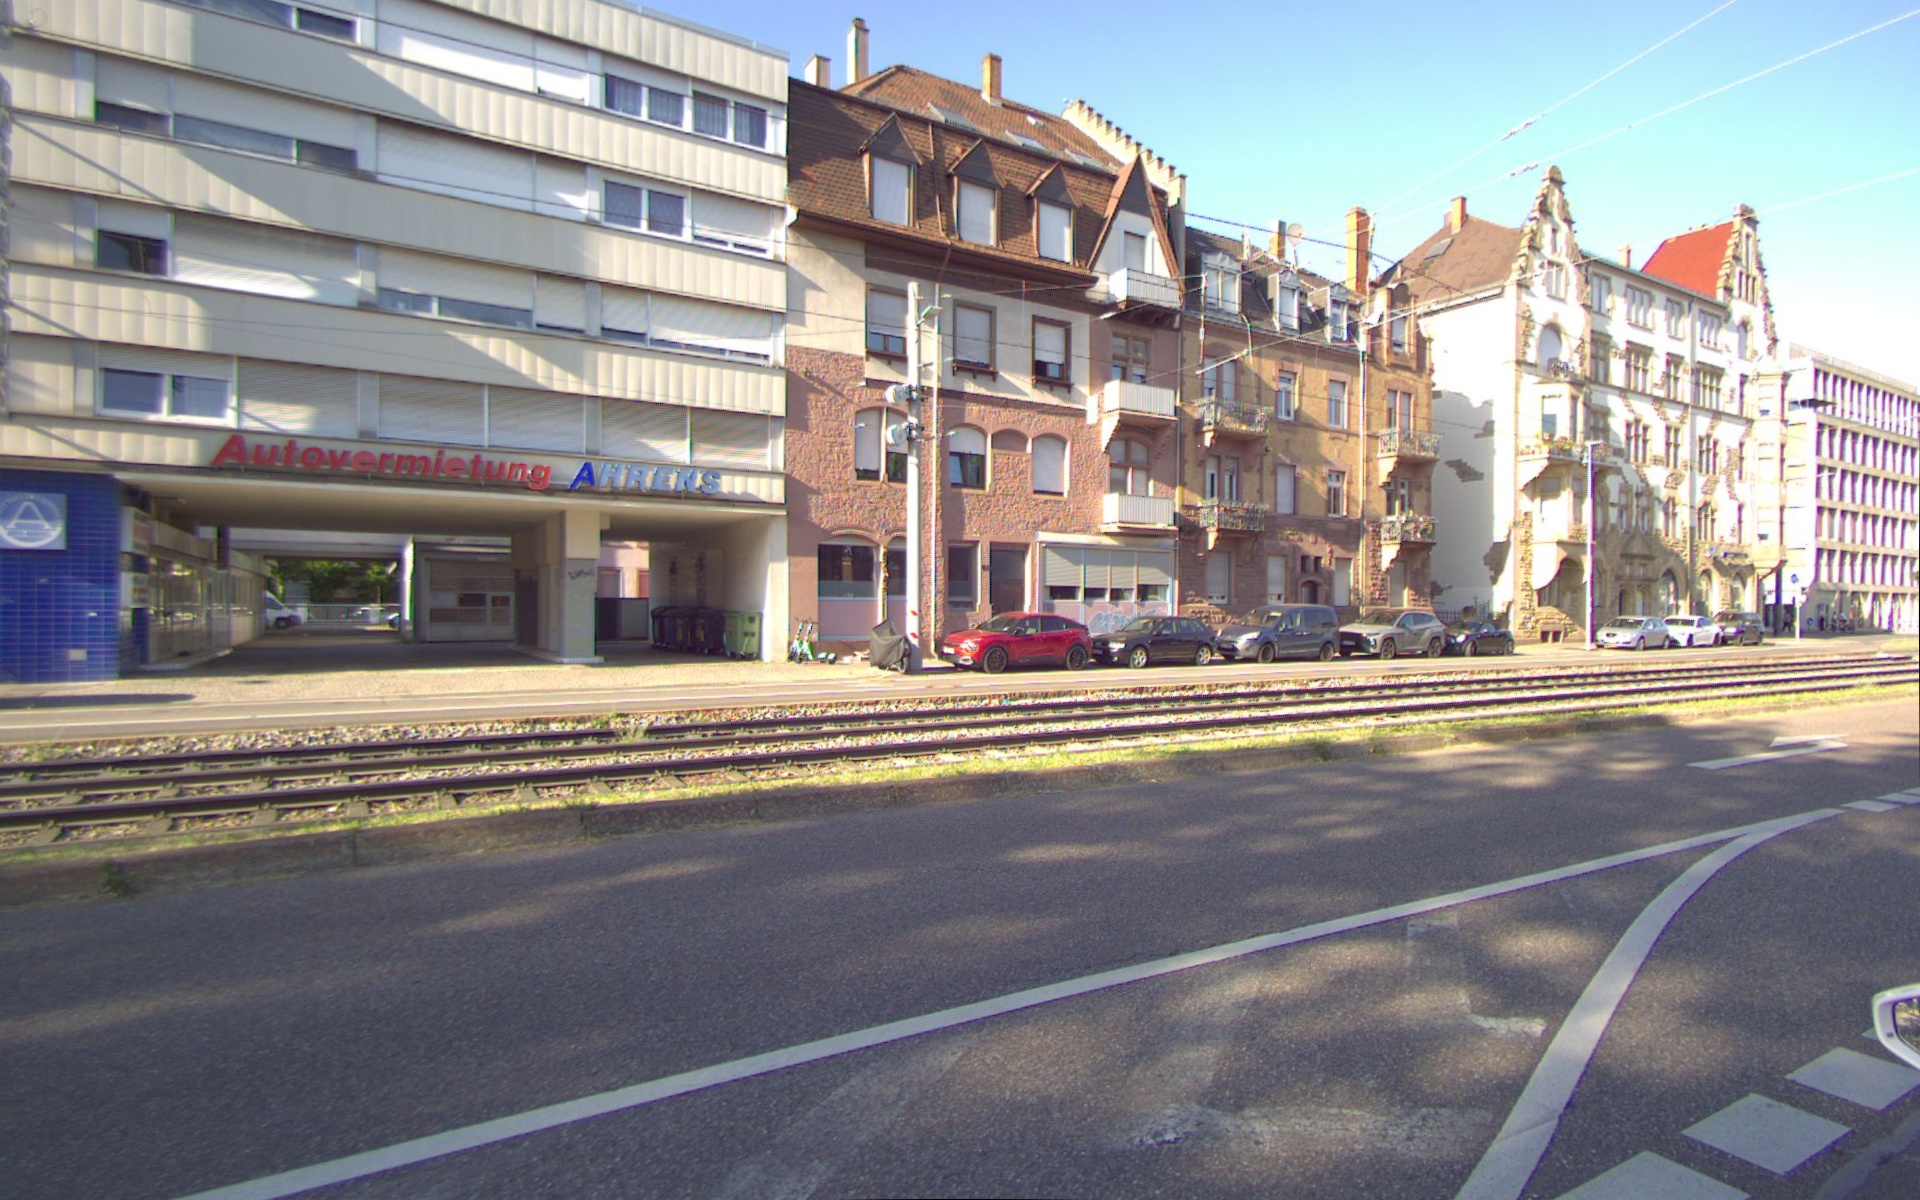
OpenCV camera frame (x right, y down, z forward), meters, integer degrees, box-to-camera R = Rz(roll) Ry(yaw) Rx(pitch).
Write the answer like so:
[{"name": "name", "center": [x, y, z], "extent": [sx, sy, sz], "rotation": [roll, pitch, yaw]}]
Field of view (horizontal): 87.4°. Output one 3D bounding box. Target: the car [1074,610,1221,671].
[{"name": "car", "center": [5.412, 1.119, 28.917], "extent": [3.955, 1.531, 1.784], "rotation": [1, 3, -32]}]

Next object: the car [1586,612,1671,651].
[{"name": "car", "center": [29.359, 1.351, 44.072], "extent": [3.961, 1.531, 1.781], "rotation": [0, 3, -36]}]

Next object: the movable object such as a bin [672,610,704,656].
[{"name": "movable object such as a bin", "center": [-8.451, 1.000, 31.195], "extent": [0.628, 1.389, 1.260], "rotation": [0, 0, -31]}]

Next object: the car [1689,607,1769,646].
[{"name": "car", "center": [38.436, 1.301, 50.189], "extent": [4.139, 1.742, 1.784], "rotation": [0, 3, -33]}]

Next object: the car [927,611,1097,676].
[{"name": "car", "center": [1.404, 1.094, 26.594], "extent": [4.219, 1.479, 1.784], "rotation": [0, 3, -33]}]

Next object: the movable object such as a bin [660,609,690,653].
[{"name": "movable object such as a bin", "center": [-9.208, 1.001, 32.425], "extent": [0.628, 1.389, 1.260], "rotation": [0, 0, -31]}]

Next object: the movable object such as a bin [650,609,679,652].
[{"name": "movable object such as a bin", "center": [-9.884, 1.002, 33.577], "extent": [0.628, 1.389, 1.260], "rotation": [0, 0, -31]}]

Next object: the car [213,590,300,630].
[{"name": "car", "center": [-43.542, 0.635, 62.284], "extent": [4.295, 2.322, 1.848], "rotation": [1, 1, -33]}]

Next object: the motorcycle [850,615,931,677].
[{"name": "motorcycle", "center": [-1.739, 1.126, 25.035], "extent": [2.045, 1.345, 0.835], "rotation": [4, 3, 44]}]

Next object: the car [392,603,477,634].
[{"name": "car", "center": [-28.186, 1.008, 53.930], "extent": [3.953, 1.530, 1.786], "rotation": [1, 1, -30]}]

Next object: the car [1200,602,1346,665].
[{"name": "car", "center": [9.877, 1.025, 31.645], "extent": [4.400, 1.777, 1.786], "rotation": [1, 3, -29]}]

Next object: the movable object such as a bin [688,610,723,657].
[{"name": "movable object such as a bin", "center": [-7.634, 0.996, 30.138], "extent": [0.629, 1.389, 1.259], "rotation": [1, 0, -34]}]

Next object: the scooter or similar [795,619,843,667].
[{"name": "scooter or similar", "center": [-3.751, 1.139, 26.759], "extent": [1.186, 1.222, 0.389], "rotation": [1, 2, -31]}]

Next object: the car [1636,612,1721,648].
[{"name": "car", "center": [33.799, 1.377, 47.214], "extent": [4.139, 1.531, 1.784], "rotation": [0, 3, -33]}]

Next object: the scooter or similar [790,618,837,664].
[{"name": "scooter or similar", "center": [-3.973, 1.110, 27.281], "extent": [1.186, 1.222, 0.389], "rotation": [1, 2, -31]}]

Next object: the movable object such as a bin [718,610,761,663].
[{"name": "movable object such as a bin", "center": [-6.079, 0.986, 27.716], "extent": [0.629, 1.390, 1.401], "rotation": [0, 0, -37]}]

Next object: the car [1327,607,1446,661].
[{"name": "car", "center": [14.752, 1.128, 34.695], "extent": [4.152, 1.674, 1.677], "rotation": [1, 3, -32]}]

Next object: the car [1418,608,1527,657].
[{"name": "car", "center": [19.174, 1.175, 37.566], "extent": [4.152, 1.674, 1.677], "rotation": [1, 3, -32]}]

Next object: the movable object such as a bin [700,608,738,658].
[{"name": "movable object such as a bin", "center": [-6.933, 0.943, 28.876], "extent": [0.629, 1.390, 1.184], "rotation": [0, 0, -37]}]
